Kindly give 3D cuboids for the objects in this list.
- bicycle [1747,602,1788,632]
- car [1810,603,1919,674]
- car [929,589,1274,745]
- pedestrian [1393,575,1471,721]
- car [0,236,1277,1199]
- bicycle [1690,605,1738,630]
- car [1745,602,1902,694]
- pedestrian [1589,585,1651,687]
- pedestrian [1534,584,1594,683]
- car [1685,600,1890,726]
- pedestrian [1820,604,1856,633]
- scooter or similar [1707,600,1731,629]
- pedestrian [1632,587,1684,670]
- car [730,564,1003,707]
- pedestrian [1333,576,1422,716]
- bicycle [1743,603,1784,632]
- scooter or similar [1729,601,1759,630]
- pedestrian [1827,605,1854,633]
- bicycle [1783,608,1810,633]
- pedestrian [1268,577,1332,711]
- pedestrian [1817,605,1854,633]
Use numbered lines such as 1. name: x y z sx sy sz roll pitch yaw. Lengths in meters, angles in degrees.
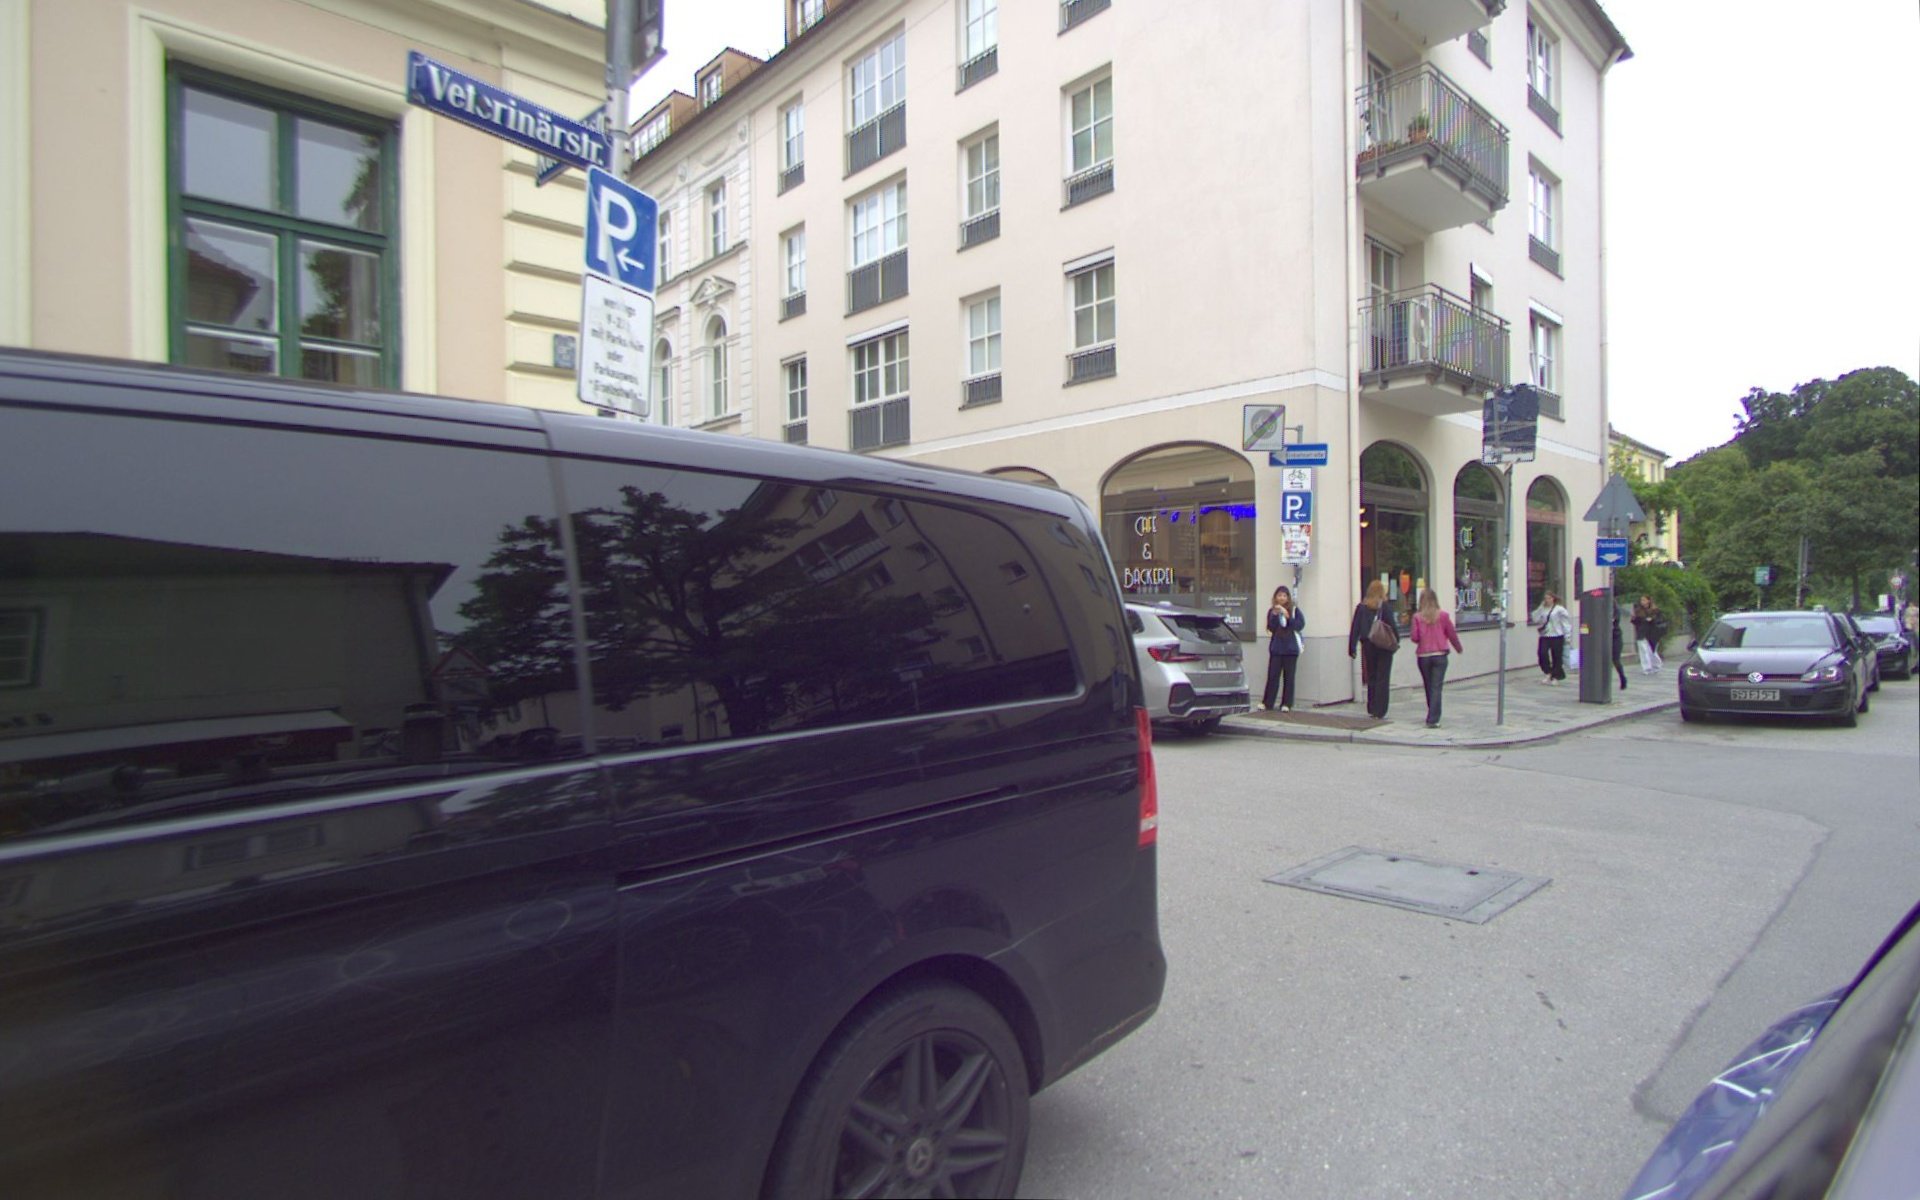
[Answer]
1. bicycle: 35.330 0.746 44.298 1.623 1.213 0.169 3 0 -1
2. car: 20.474 0.801 22.524 4.577 1.429 1.804 0 -1 -43
3. car: 1.624 0.707 12.662 1.725 1.626 4.092 2 -1 -43
4. pedestrian: 5.613 0.541 12.020 1.052 1.645 0.472 -2 1 -43
5. car: -1.701 0.541 1.927 5.161 1.888 2.000 0 -1 -41
6. bicycle: 33.412 0.767 44.866 1.637 1.006 0.246 3 0 25
7. car: 15.378 0.792 17.943 4.434 1.443 1.646 0 -3 -44
8. pedestrian: 11.313 0.587 17.342 0.866 1.682 0.705 -2 1 -44
9. pedestrian: 10.718 0.565 17.954 0.866 1.682 0.705 -2 1 -44
10. car: 11.248 0.762 13.650 4.135 1.443 1.675 0 -3 -45
11. pedestrian: 40.609 0.873 46.809 1.171 1.310 0.630 -2 -4 38
12. scooter or similar: 33.008 0.639 43.991 1.363 1.264 0.397 2 -1 -34
13. pedestrian: 14.371 0.561 20.836 0.866 1.643 0.705 -2 1 -44
14. car: -1.598 0.513 16.040 1.941 1.942 4.444 4 -3 -43
15. pedestrian: 5.159 0.530 12.496 0.963 1.640 0.659 -2 1 -43
16. bicycle: 35.339 0.753 44.496 1.623 1.206 0.202 3 0 -1
17. scooter or similar: 33.667 0.671 43.450 0.317 1.228 1.118 1 -1 -5
18. pedestrian: 41.091 0.885 47.231 0.882 1.251 0.543 -2 -4 38
19. bicycle: 37.182 0.907 44.992 1.620 1.051 0.308 3 0 -28
20. pedestrian: 4.399 0.546 13.084 0.633 1.667 0.519 0 1 40
21. pedestrian: 39.938 0.875 46.175 1.210 1.264 0.630 -2 -4 38
